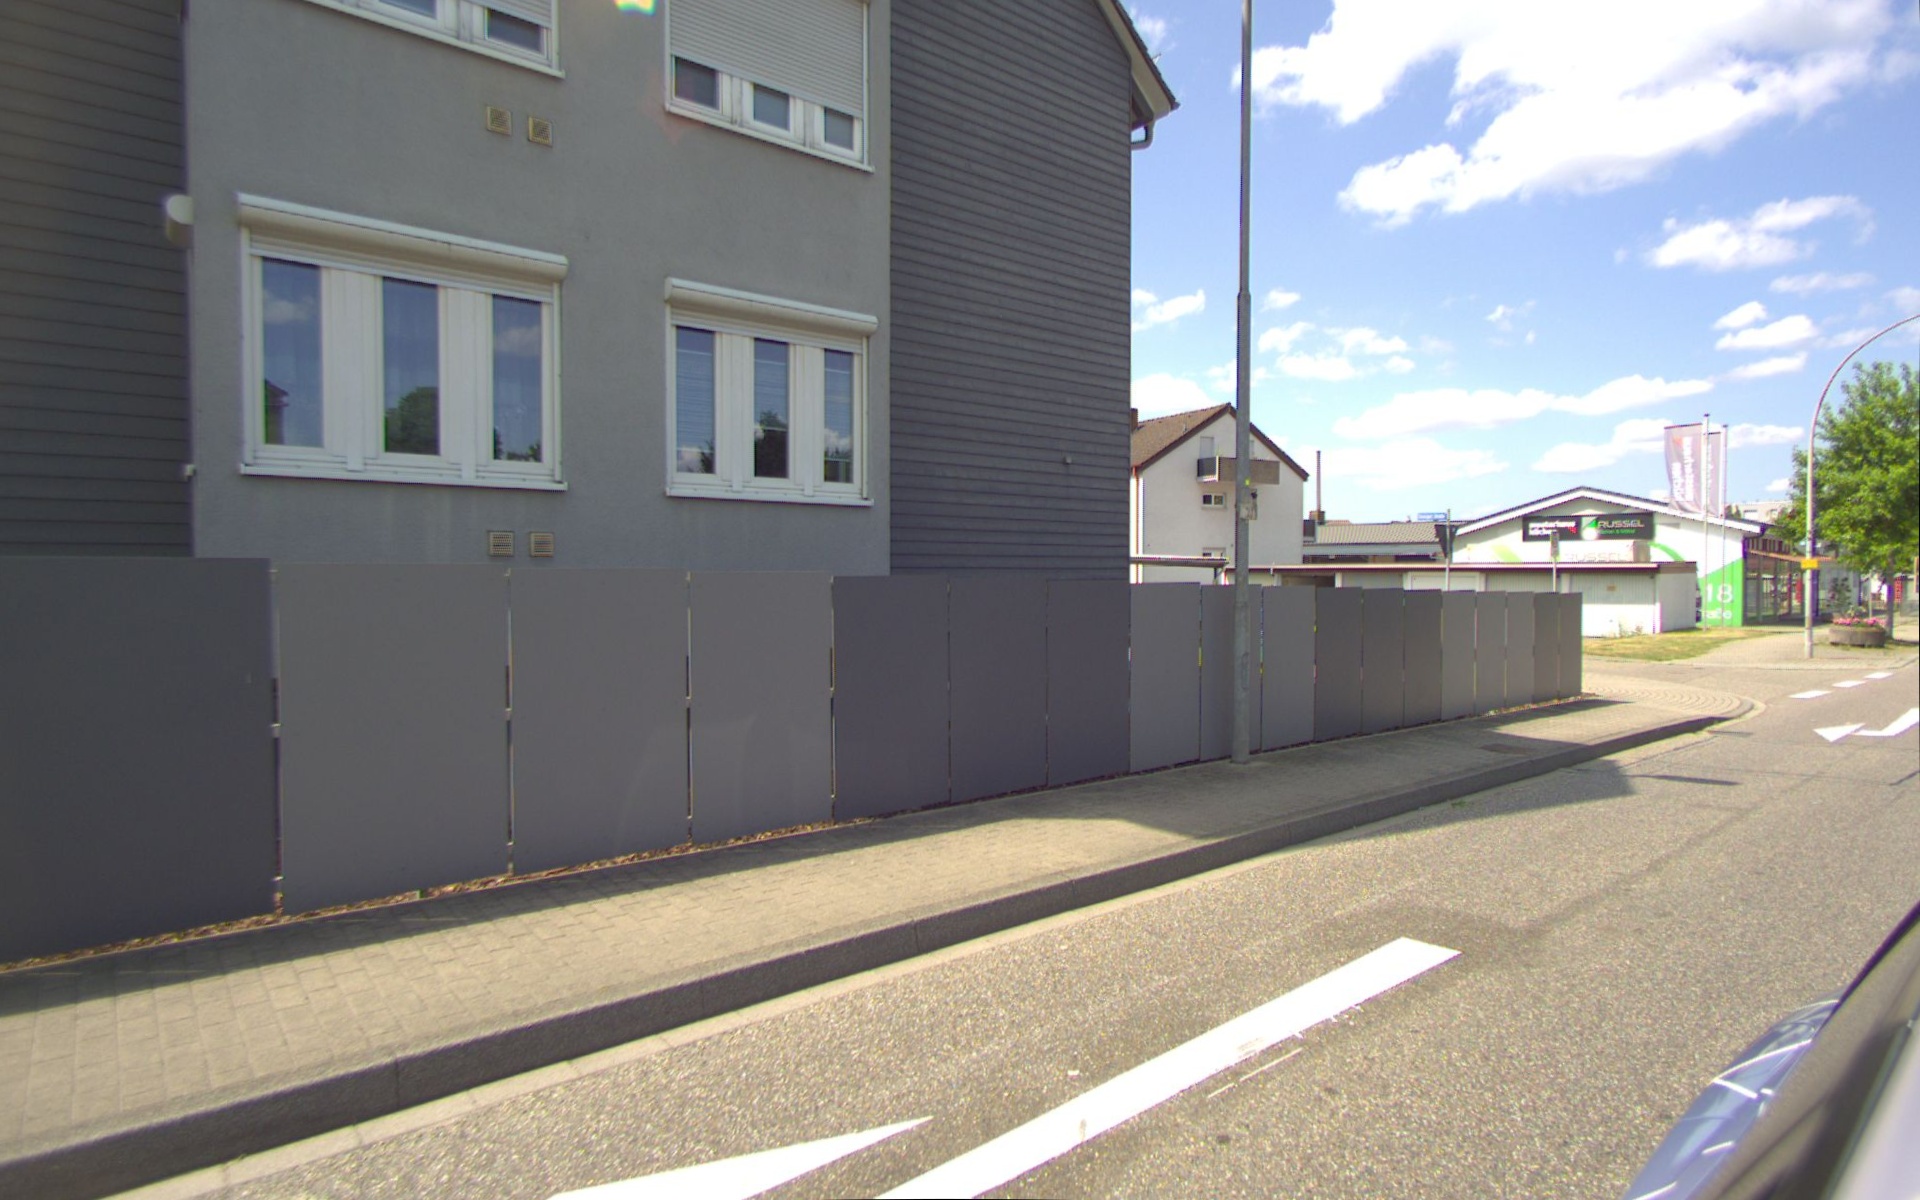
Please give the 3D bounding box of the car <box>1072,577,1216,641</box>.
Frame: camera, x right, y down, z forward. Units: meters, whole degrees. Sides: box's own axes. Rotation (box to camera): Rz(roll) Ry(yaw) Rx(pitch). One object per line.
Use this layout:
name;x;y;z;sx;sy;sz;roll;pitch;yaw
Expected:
car;5.277;0.272;28.784;4.139;1.669;1.741;2;0;-40

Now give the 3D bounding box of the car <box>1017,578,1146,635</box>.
car;3.732;0.215;30.727;3.784;1.607;1.741;2;0;-40

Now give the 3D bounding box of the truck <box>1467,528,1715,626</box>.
truck;25.462;-0.933;41.232;2.633;3.617;8.180;-2;2;-42

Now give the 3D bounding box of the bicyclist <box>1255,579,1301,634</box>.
bicyclist;9.728;0.203;30.956;0.792;1.650;1.109;0;-1;-44

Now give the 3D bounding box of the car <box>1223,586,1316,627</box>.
car;12.278;0.224;40.034;4.060;1.522;1.678;-1;1;-41

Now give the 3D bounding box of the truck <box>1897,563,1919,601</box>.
truck;72.519;-1.360;76.241;2.571;2.795;6.240;3;3;41
